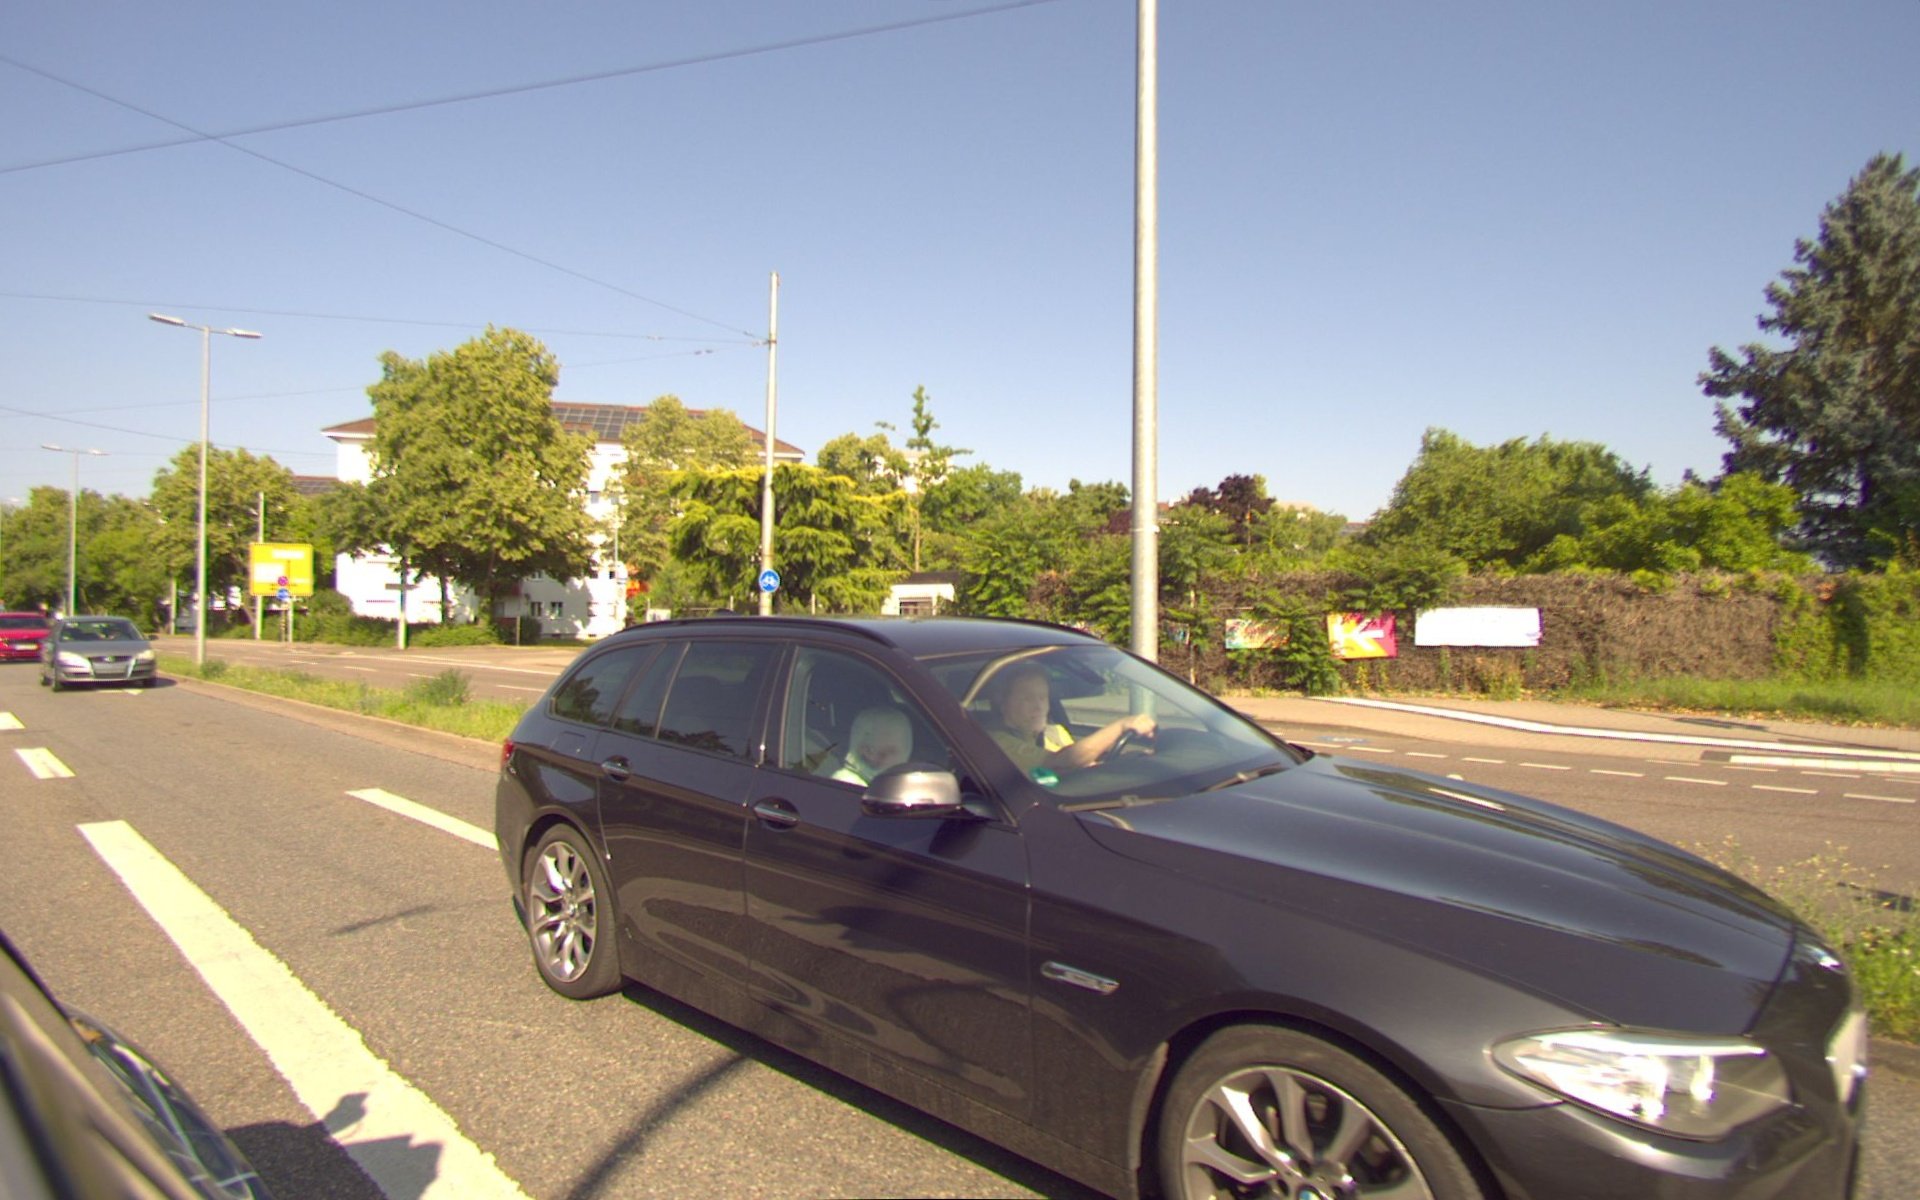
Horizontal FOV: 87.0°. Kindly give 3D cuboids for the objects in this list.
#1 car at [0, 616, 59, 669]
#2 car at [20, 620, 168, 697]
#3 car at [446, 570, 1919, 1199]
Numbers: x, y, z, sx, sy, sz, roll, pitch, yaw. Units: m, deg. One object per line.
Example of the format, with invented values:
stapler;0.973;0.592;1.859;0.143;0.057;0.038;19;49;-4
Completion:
car;-30.359;1.342;32.585;3.833;1.595;1.670;-1;-2;43
car;-17.991;1.150;20.980;3.829;1.439;1.672;-1;-1;39
car;0.178;0.745;3.402;4.641;1.497;1.742;-1;-1;40
